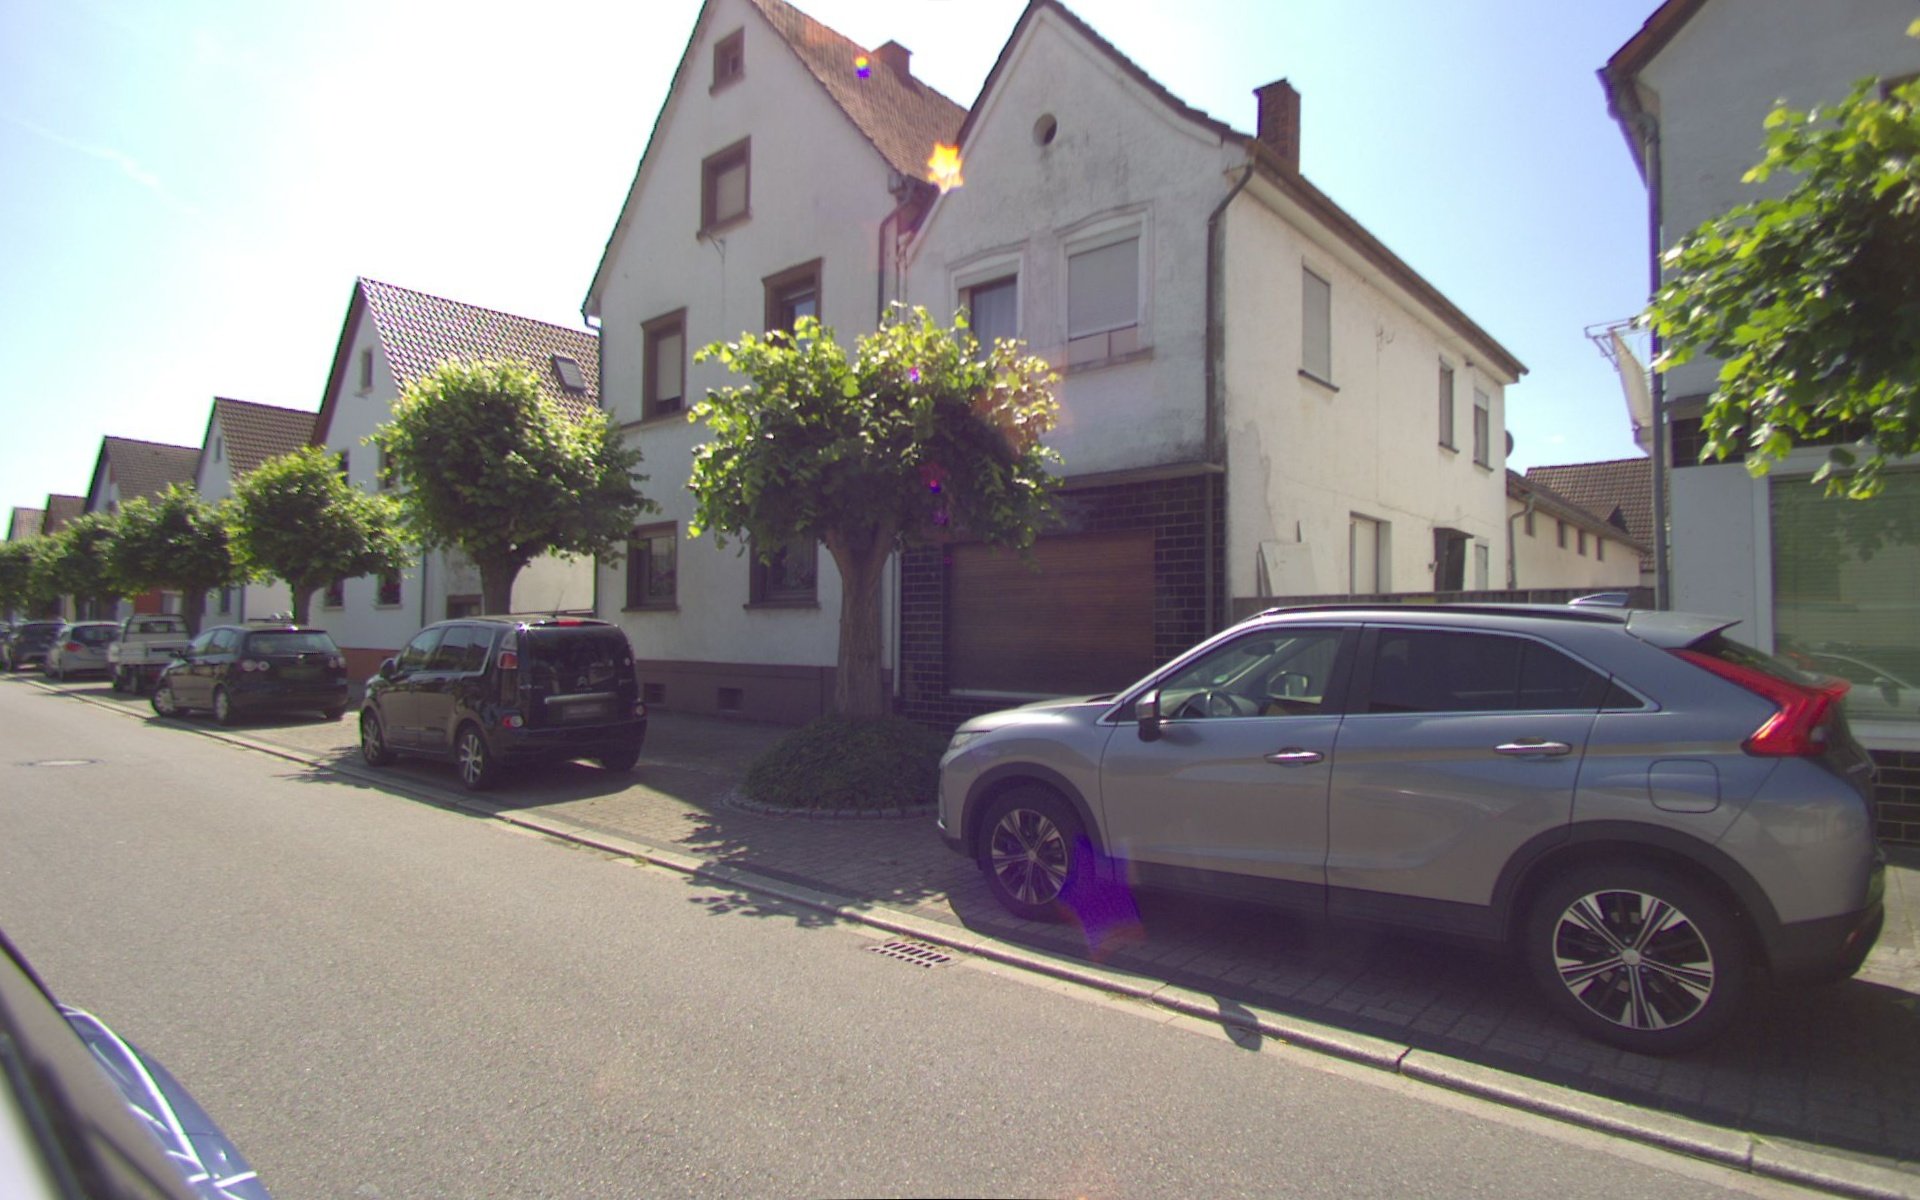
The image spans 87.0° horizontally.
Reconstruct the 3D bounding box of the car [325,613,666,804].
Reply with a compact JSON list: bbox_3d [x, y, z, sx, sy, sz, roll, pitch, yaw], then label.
[{"bbox_3d":[-5.085,0.977,10.847,4.055,1.647,1.833,-1,-1,41],"label":"car"}]

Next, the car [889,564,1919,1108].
[{"bbox_3d":[1.914,0.789,5.175,4.361,1.665,1.975,-1,-3,38],"label":"car"}]

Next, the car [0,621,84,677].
[{"bbox_3d":[-30.306,1.579,33.170,4.297,1.649,1.834,-2,-1,41],"label":"car"}]

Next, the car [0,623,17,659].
[{"bbox_3d":[-45.422,1.924,47.212,4.135,1.625,1.833,-1,-1,43],"label":"car"}]

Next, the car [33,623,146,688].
[{"bbox_3d":[-24.611,1.498,28.554,4.368,1.625,1.834,-1,0,41],"label":"car"}]

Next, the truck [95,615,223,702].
[{"bbox_3d":[-18.319,1.261,23.080,4.190,1.778,1.560,-1,-1,41],"label":"truck"}]

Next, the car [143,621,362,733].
[{"bbox_3d":[-11.821,1.177,16.841,3.992,1.646,1.770,-1,-1,36],"label":"car"}]
